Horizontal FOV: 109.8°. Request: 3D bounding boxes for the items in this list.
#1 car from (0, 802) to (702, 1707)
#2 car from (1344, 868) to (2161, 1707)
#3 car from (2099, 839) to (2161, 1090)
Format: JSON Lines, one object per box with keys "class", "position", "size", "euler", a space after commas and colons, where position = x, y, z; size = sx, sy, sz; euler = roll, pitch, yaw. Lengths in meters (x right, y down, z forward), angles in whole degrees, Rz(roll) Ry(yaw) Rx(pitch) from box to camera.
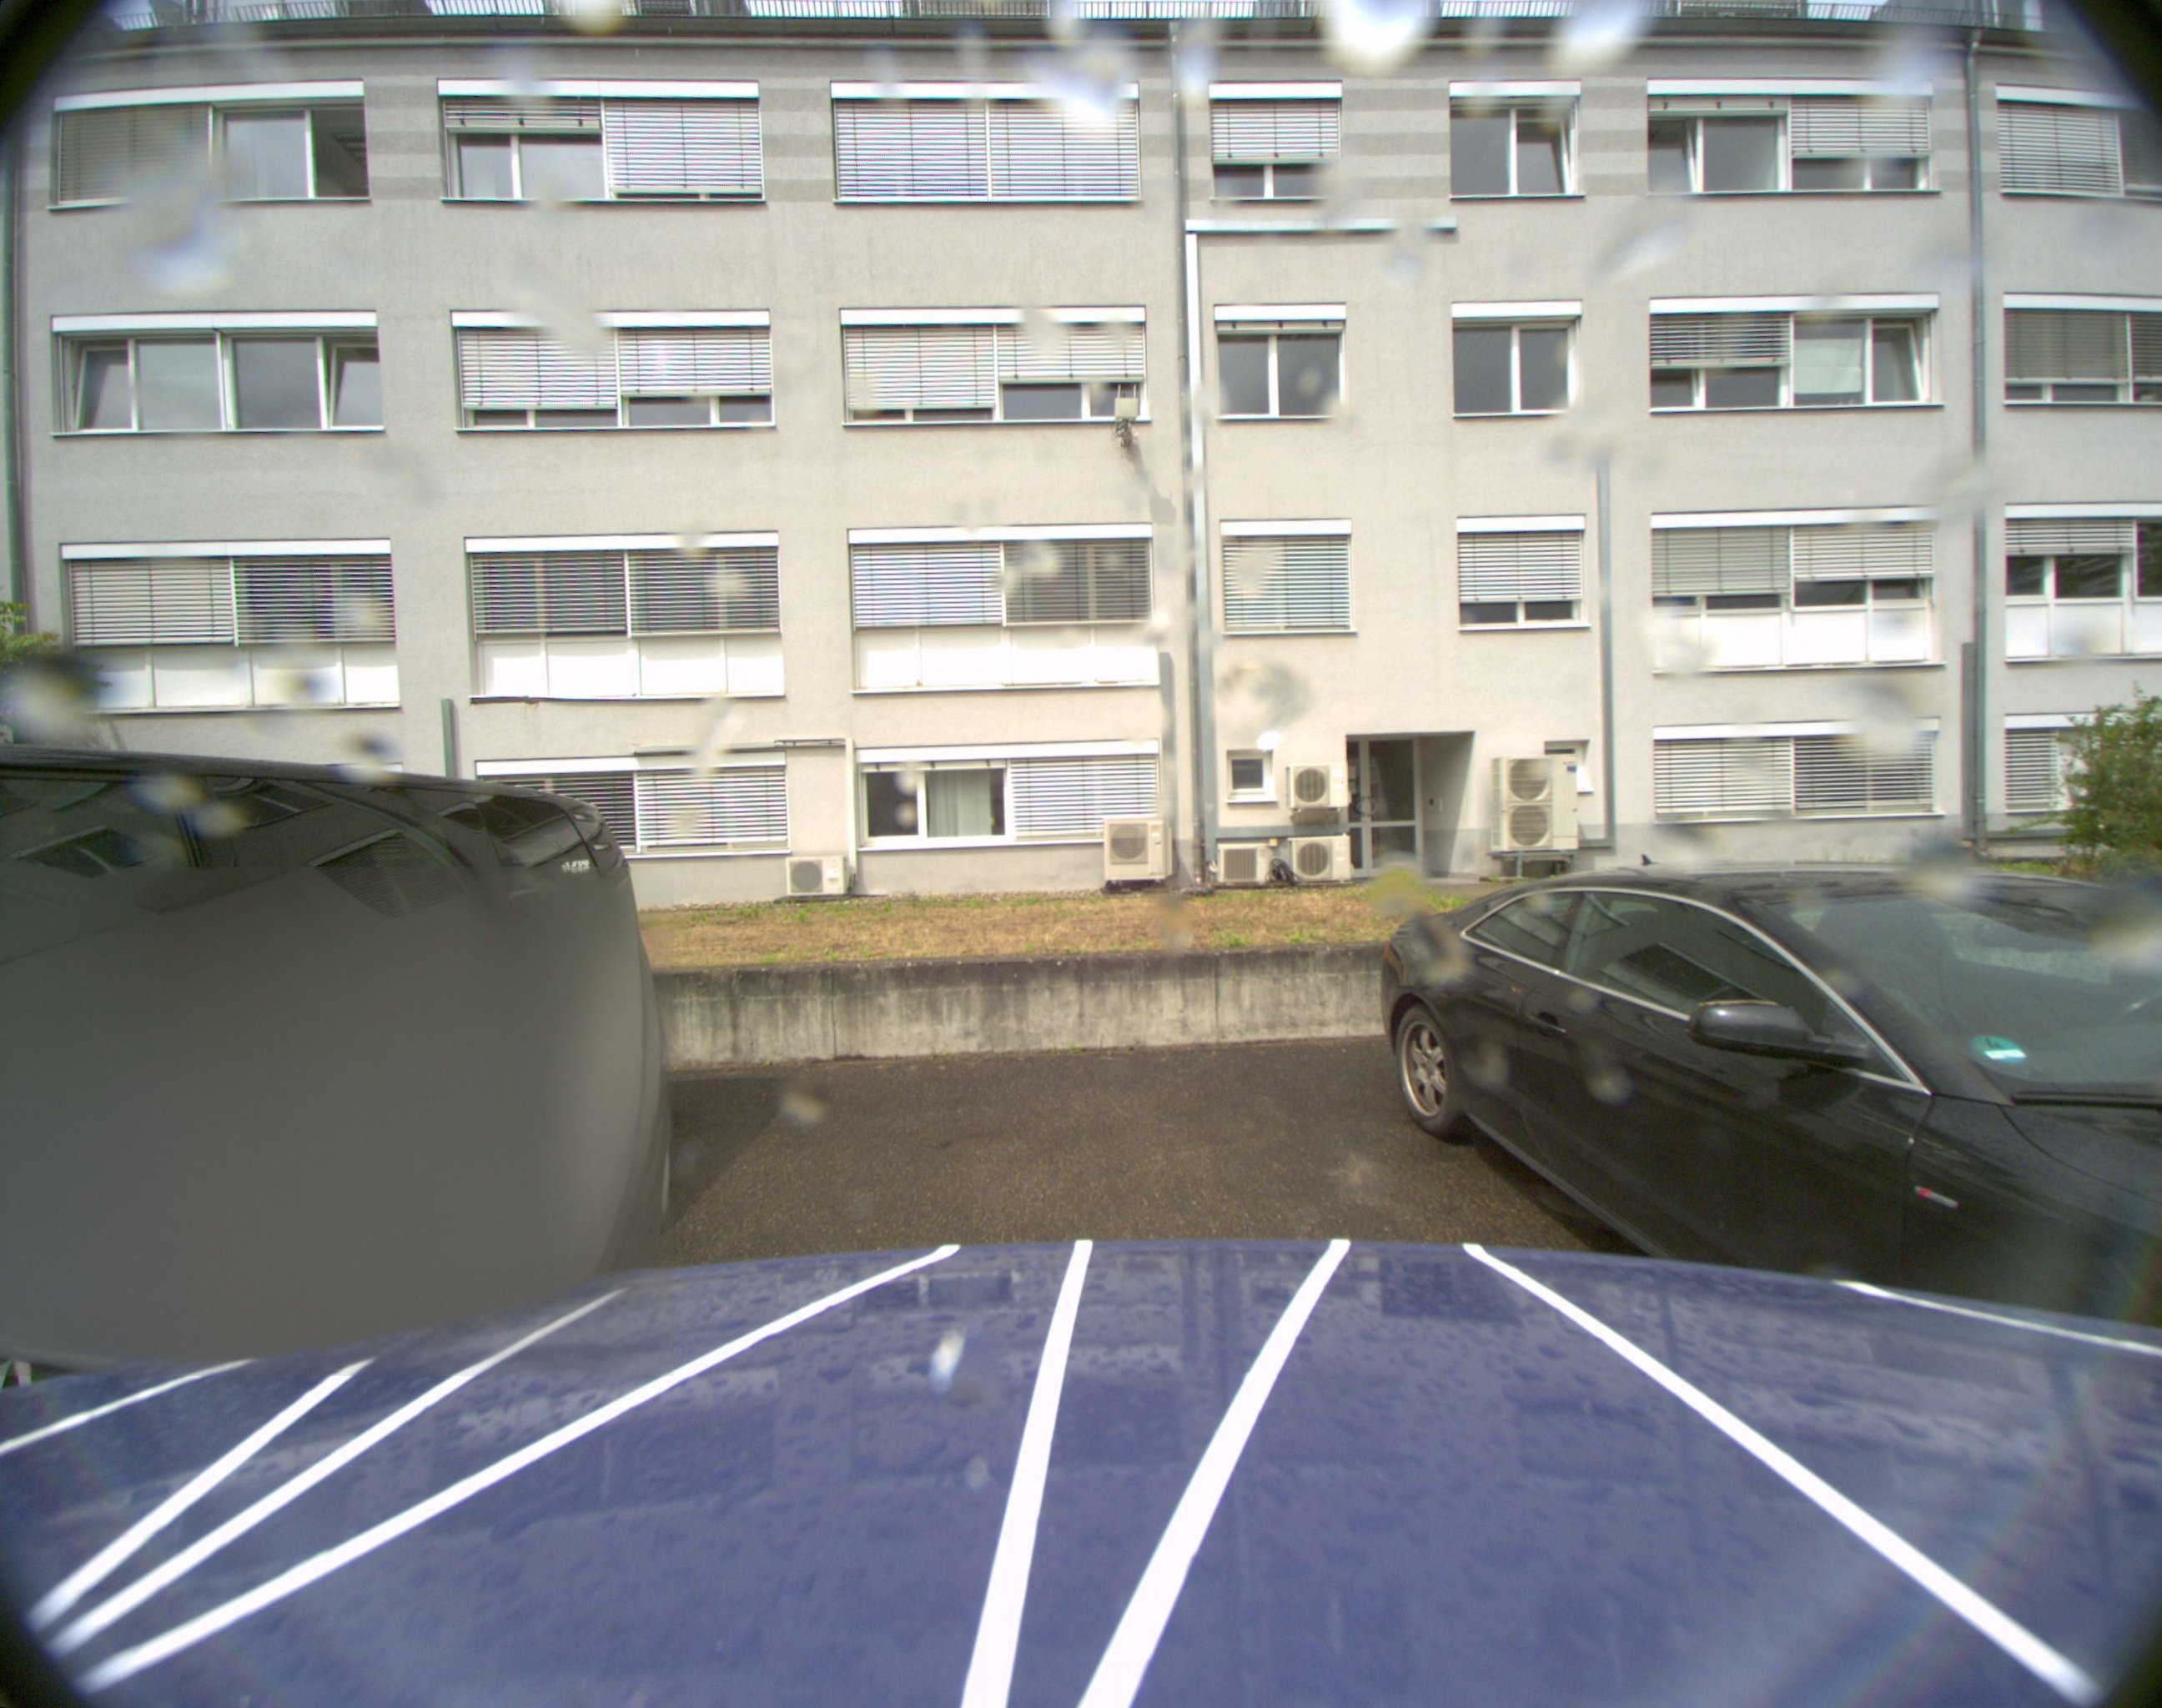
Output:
{"class": "car", "position": [-3.162, 0.841, 2.049], "size": [1.969, 1.854, 4.745], "euler": [-2, 2, -3]}
{"class": "car", "position": [2.507, 0.871, 2.269], "size": [1.762, 1.344, 4.527], "euler": [-2, 2, -1]}
{"class": "car", "position": [7.176, 0.674, 2.508], "size": [1.762, 1.435, 4.313], "euler": [-3, 2, -2]}
